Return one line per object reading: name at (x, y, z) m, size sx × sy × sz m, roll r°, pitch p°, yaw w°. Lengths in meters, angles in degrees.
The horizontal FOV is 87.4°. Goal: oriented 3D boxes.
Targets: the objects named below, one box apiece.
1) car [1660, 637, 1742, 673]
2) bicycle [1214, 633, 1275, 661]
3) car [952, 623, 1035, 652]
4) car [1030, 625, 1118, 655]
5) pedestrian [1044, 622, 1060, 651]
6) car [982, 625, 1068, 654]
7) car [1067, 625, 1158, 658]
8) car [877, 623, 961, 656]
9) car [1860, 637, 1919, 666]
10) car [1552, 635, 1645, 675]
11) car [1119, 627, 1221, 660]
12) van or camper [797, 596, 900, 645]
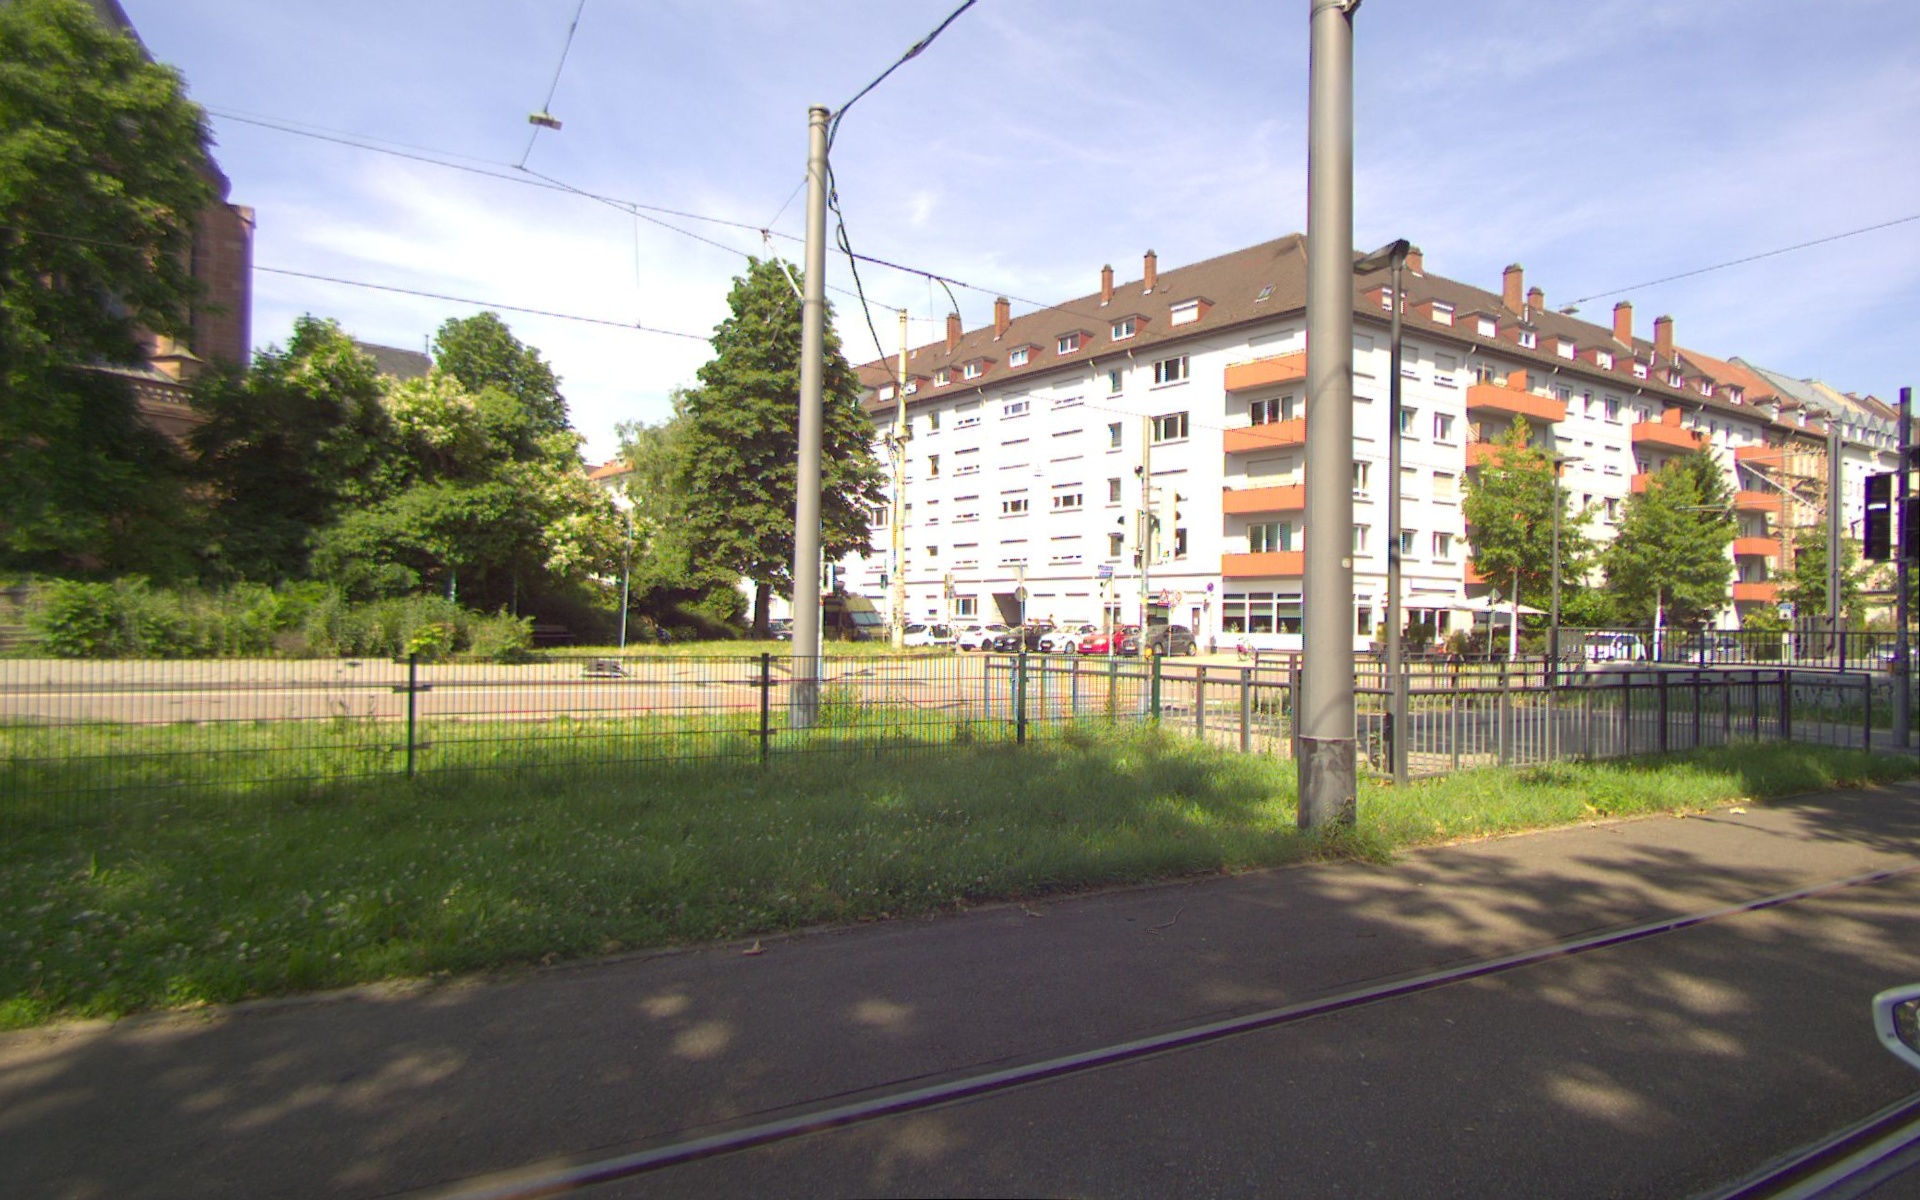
car at (32.485, 2.386, 44.005) m, size 3.961 × 1.518 × 1.759 m, roll 2°, pitch -3°, yaw -36°
bicycle at (12.085, 2.001, 42.617) m, size 2.779 × 1.152 × 0.905 m, roll 2°, pitch -1°, yaw -34°
car at (1.802, 1.976, 53.271) m, size 4.129 × 1.425 × 1.917 m, roll 2°, pitch -1°, yaw -38°
car at (5.622, 1.959, 49.401) m, size 4.129 × 1.425 × 1.917 m, roll 2°, pitch -2°, yaw -38°
pedestrian at (5.011, 1.982, 54.616) m, size 0.679 × 1.593 × 0.544 m, roll 0°, pitch -1°, yaw 36°
car at (3.334, 2.001, 50.968) m, size 4.129 × 1.425 × 1.917 m, roll 2°, pitch -1°, yaw -38°
car at (7.162, 1.931, 47.083) m, size 4.129 × 1.425 × 1.917 m, roll 2°, pitch -2°, yaw -38°
car at (-1.898, 1.787, 46.341) m, size 3.702 × 1.425 × 1.823 m, roll 0°, pitch -2°, yaw 44°
car at (50.723, 2.781, 54.724) m, size 3.961 × 1.518 × 1.758 m, roll 2°, pitch -1°, yaw -36°
car at (25.214, 2.152, 39.643) m, size 3.961 × 1.518 × 1.759 m, roll 2°, pitch -3°, yaw -36°
car at (9.326, 1.915, 44.486) m, size 4.598 × 1.394 × 1.821 m, roll 2°, pitch -2°, yaw -36°
van or camper at (-5.712, 1.014, 50.737) m, size 2.228 × 2.360 × 5.704 m, roll 2°, pitch -1°, yaw -42°
